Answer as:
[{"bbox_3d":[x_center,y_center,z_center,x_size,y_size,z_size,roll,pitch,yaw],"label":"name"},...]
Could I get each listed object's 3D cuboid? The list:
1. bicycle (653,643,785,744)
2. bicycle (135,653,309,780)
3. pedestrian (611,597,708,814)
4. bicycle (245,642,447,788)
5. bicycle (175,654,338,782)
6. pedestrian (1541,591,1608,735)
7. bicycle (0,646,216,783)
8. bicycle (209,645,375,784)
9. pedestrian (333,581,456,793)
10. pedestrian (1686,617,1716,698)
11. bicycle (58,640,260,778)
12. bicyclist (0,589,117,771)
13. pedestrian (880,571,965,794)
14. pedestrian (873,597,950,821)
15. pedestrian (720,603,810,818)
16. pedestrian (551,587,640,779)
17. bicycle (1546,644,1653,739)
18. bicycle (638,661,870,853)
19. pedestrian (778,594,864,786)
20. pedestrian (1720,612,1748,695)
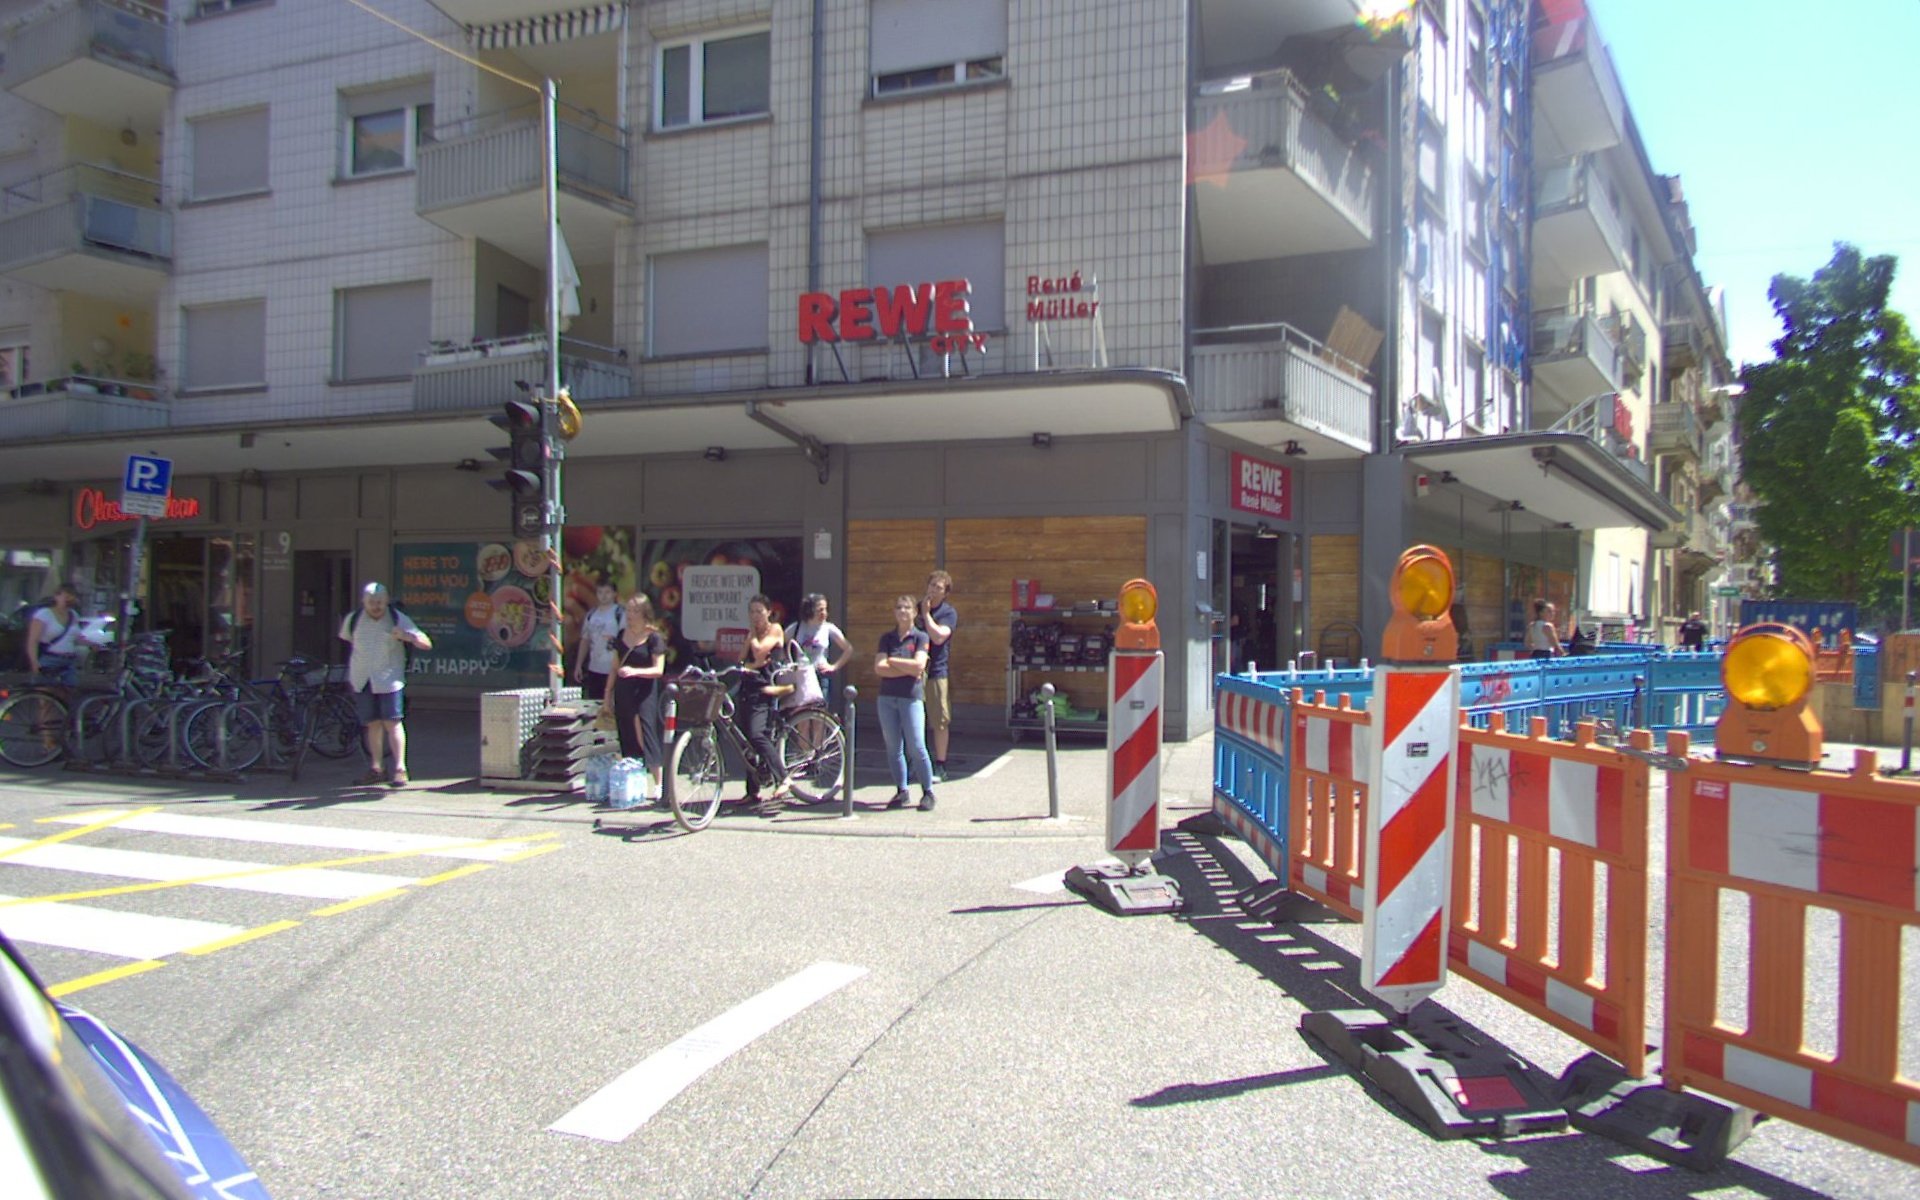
[{"bbox_3d":[-2.710,1.045,11.419,1.412,1.094,0.322,-1,-1,-1],"label":"bicycle"},{"bbox_3d":[-7.200,1.100,9.961,0.394,1.038,1.493,0,1,13],"label":"bicycle"},{"bbox_3d":[-2.367,0.803,8.006,0.506,1.645,0.540,0,-1,15],"label":"pedestrian"},{"bbox_3d":[-5.696,1.015,9.529,0.572,1.131,1.797,0,1,11],"label":"bicycle"},{"bbox_3d":[-6.771,1.100,9.817,0.332,1.043,1.446,0,1,13],"label":"bicycle"},{"bbox_3d":[7.586,0.765,12.507,0.384,1.728,0.592,2,-2,-34],"label":"pedestrian"},{"bbox_3d":[-8.470,1.060,9.973,0.598,1.100,1.933,1,1,11],"label":"bicycle"},{"bbox_3d":[-6.360,1.046,9.724,0.332,1.125,1.518,0,1,13],"label":"bicycle"},{"bbox_3d":[-4.853,0.720,8.711,0.626,1.740,0.655,0,-1,15],"label":"pedestrian"},{"bbox_3d":[18.644,1.435,25.466,0.545,2.029,0.407,-1,-2,42],"label":"pedestrian"},{"bbox_3d":[-7.803,1.014,9.950,0.521,1.148,1.582,0,1,13],"label":"bicycle"},{"bbox_3d":[-9.065,0.761,10.049,0.969,1.719,0.622,1,1,14],"label":"bicyclist"},{"bbox_3d":[-0.312,0.678,8.662,0.594,1.834,0.508,0,-1,15],"label":"pedestrian"},{"bbox_3d":[-0.359,0.801,7.648,0.471,1.630,0.389,0,-1,15],"label":"pedestrian"},{"bbox_3d":[-1.500,0.815,7.801,0.459,1.577,0.490,0,0,43],"label":"pedestrian"},{"bbox_3d":[-3.497,0.774,9.728,0.594,1.784,0.508,0,-1,15],"label":"pedestrian"},{"bbox_3d":[8.008,1.112,12.742,0.338,1.080,1.574,1,-1,0],"label":"bicycle"},{"bbox_3d":[-1.444,1.069,7.398,0.467,1.127,1.787,0,0,38],"label":"bicycle"},{"bbox_3d":[-1.232,0.780,9.044,0.594,1.645,0.508,0,-1,15],"label":"pedestrian"},{"bbox_3d":[19.124,1.303,25.011,0.505,2.029,0.440,-1,-2,42],"label":"pedestrian"}]
